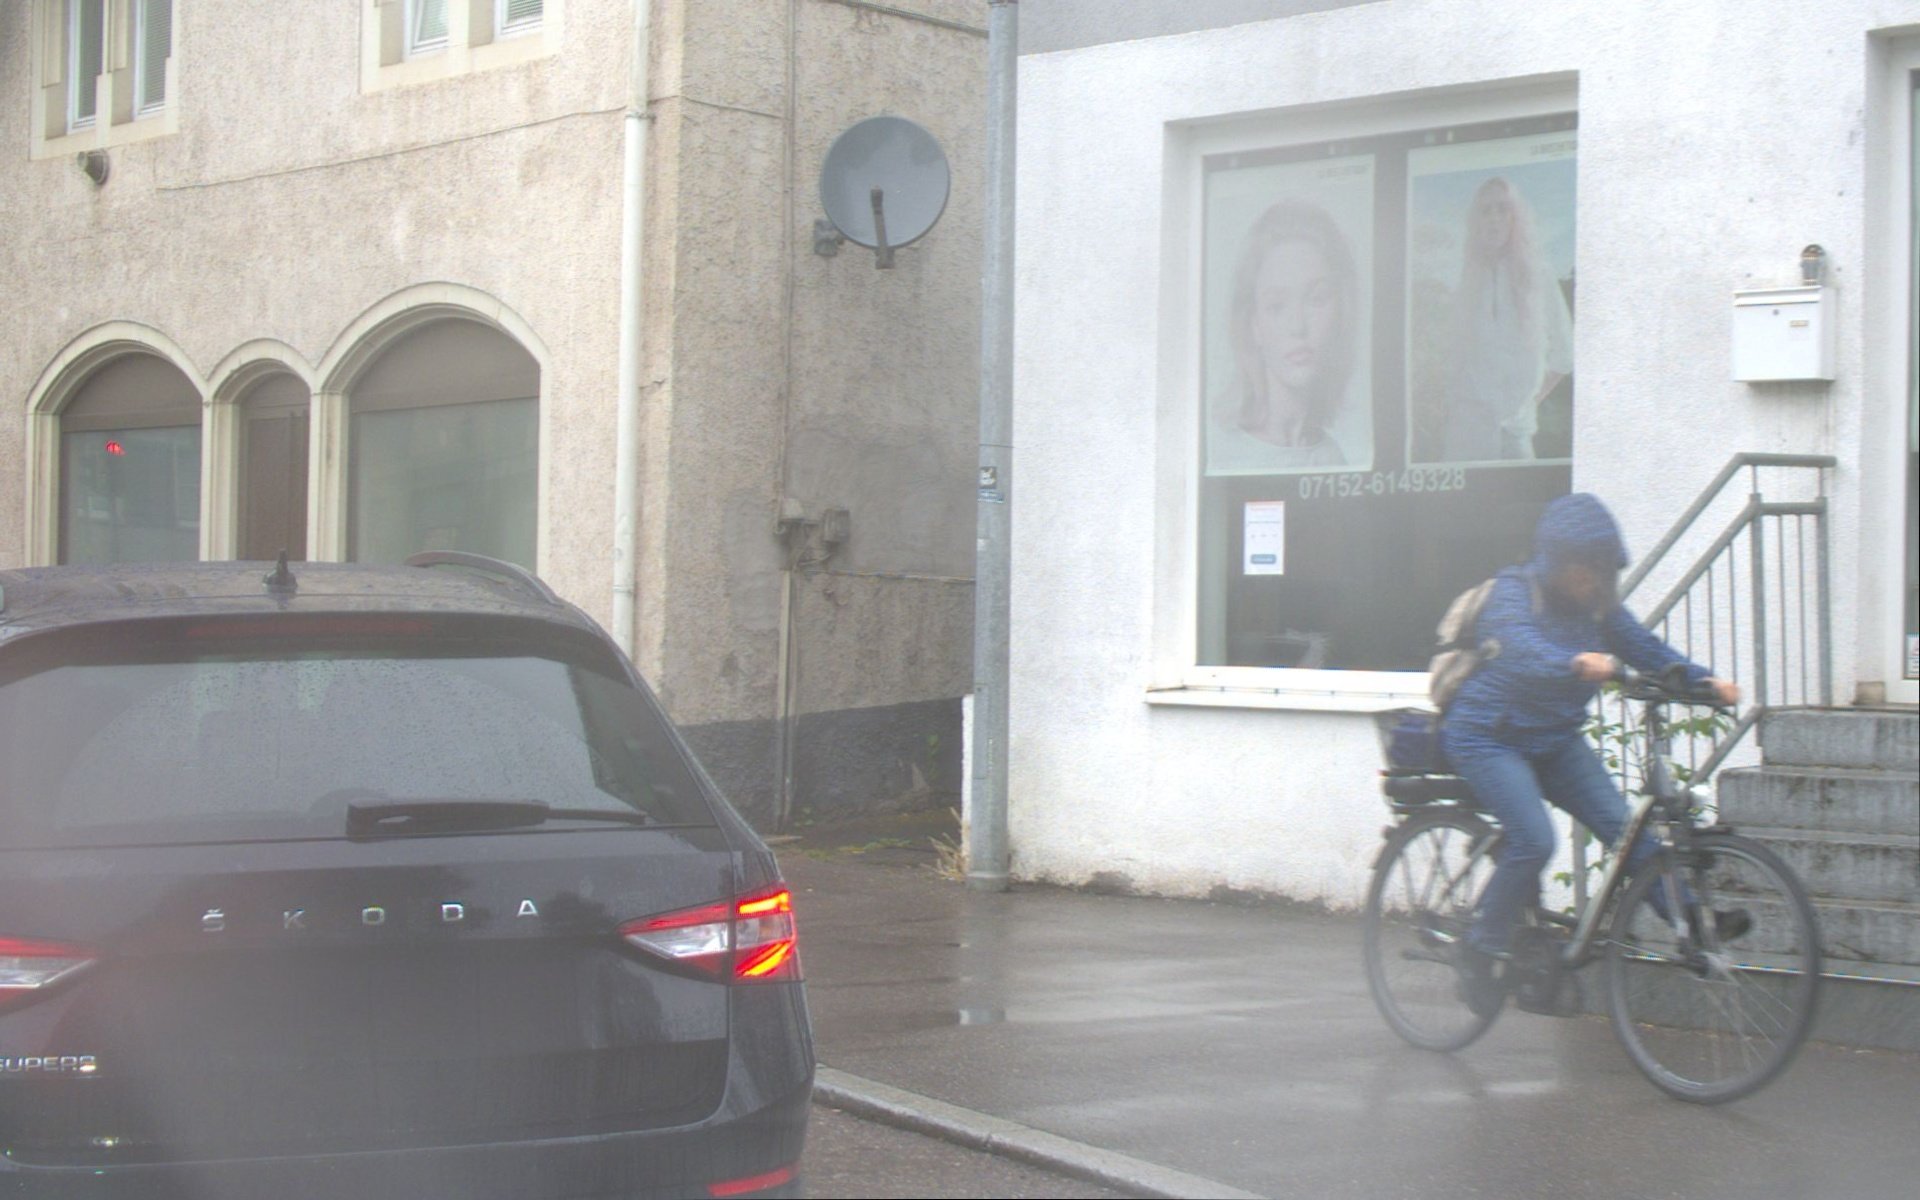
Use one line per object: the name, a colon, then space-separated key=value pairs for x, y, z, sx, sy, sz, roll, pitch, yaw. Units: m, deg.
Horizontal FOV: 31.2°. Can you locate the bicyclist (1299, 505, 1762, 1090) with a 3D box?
bicyclist: x=1.579 y=0.505 z=9.556 sx=1.029 sy=1.512 sz=0.684 roll=2 pitch=1 yaw=41

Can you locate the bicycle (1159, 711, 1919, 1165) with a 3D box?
bicycle: x=1.628 y=0.863 z=9.390 sx=2.079 sy=1.031 sz=0.762 roll=1 pitch=-1 yaw=39

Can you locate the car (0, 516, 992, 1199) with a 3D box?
car: x=-1.600 y=0.581 z=7.193 sx=1.886 sy=1.443 sz=4.358 roll=2 pitch=1 yaw=-20
